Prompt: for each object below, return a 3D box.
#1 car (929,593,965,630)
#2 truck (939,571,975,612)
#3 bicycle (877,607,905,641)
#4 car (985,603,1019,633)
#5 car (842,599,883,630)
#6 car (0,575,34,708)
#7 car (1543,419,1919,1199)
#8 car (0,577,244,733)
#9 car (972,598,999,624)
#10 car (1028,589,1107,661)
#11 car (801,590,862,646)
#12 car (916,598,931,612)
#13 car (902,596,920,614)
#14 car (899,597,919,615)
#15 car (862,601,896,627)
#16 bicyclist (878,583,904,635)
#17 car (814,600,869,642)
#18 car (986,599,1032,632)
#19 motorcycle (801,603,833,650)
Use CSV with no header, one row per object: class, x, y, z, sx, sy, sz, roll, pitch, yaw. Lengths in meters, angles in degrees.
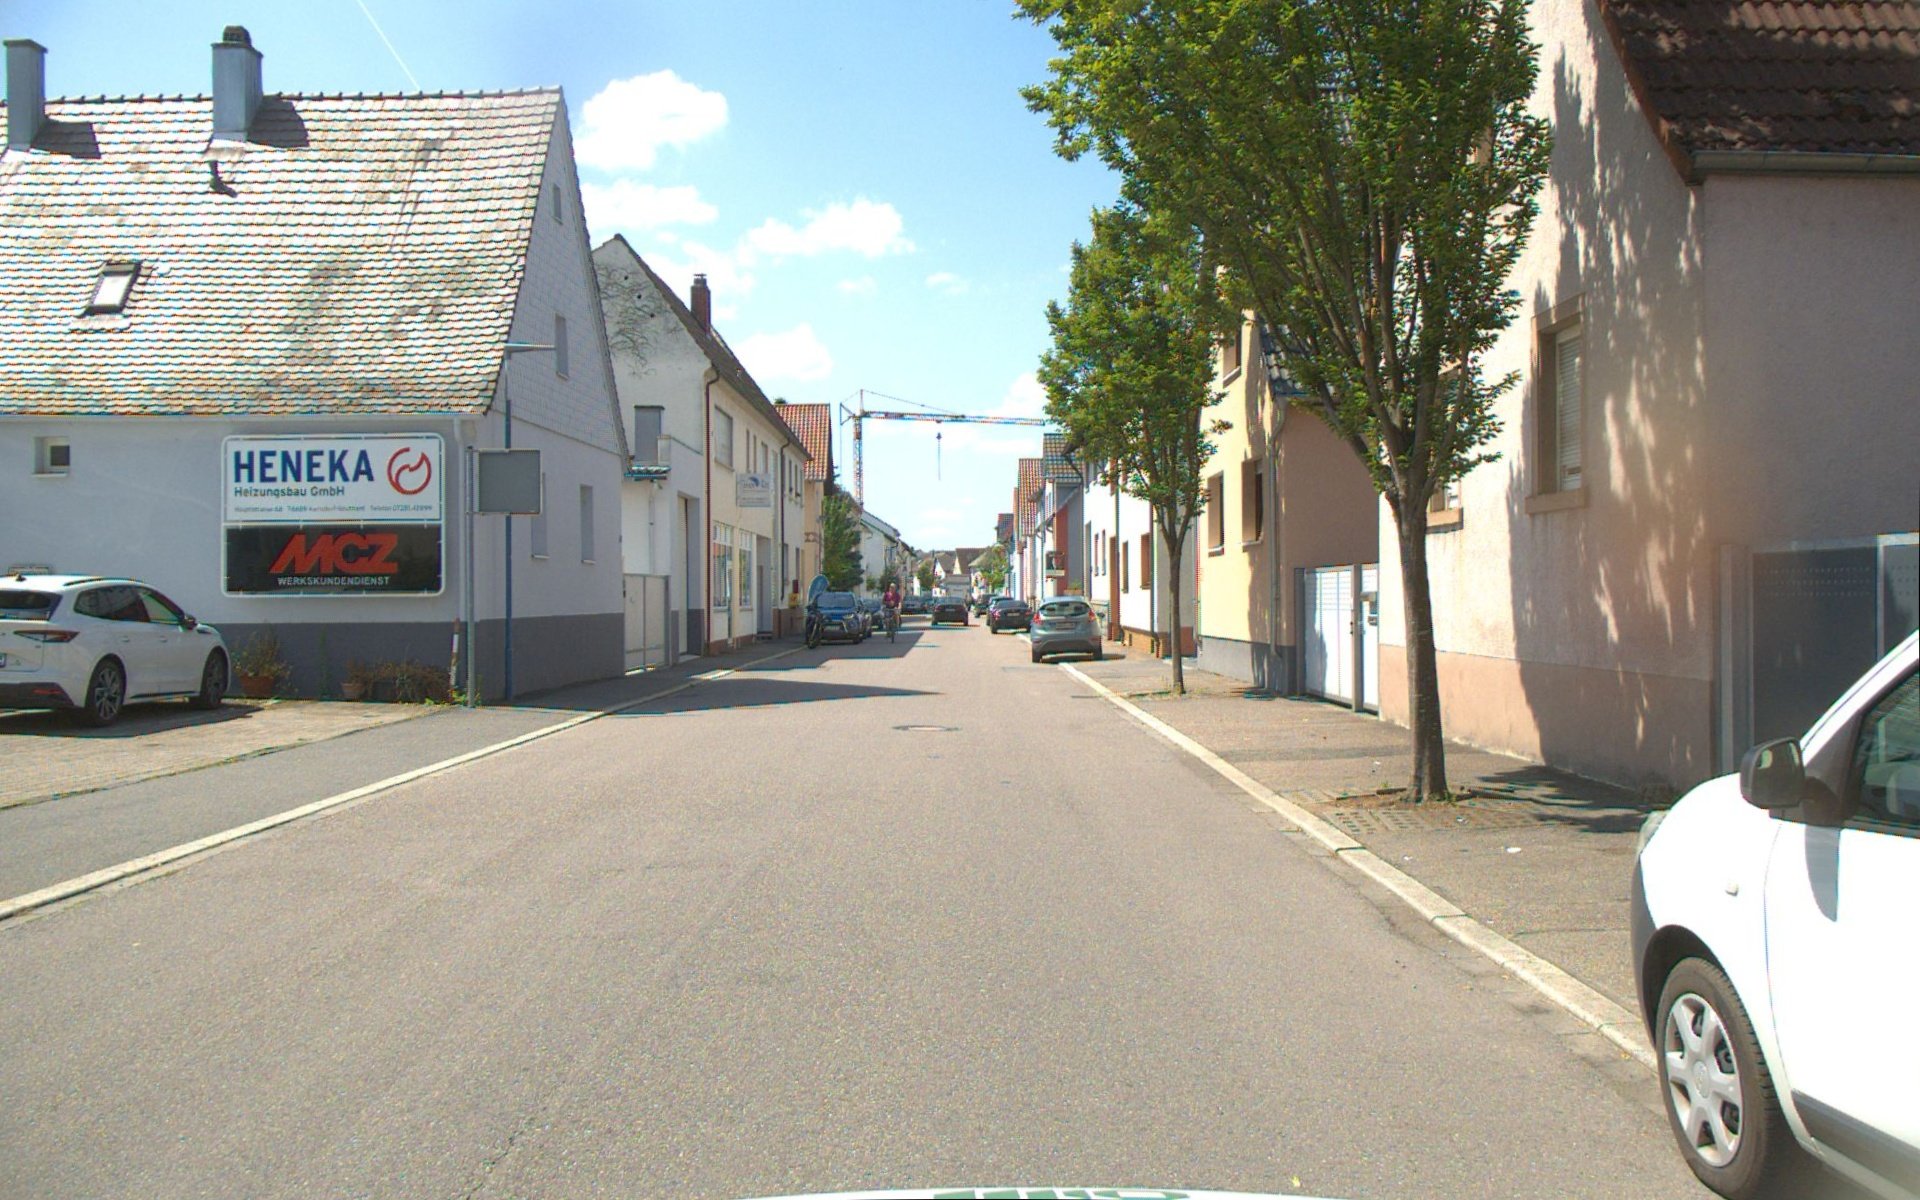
car,-0.677,0.569,83.211,1.746,1.784,3.999,-2,0,-1
truck,-0.378,-0.767,169.508,3.311,3.933,13.921,-2,0,-2
bicycle,-2.226,0.758,53.426,0.727,1.066,1.941,0,0,3
car,2.136,0.922,84.643,1.654,1.447,3.656,-1,0,0
car,-4.591,0.670,78.446,1.725,1.398,4.066,0,0,-1
car,-12.692,0.511,18.905,1.738,1.648,4.478,0,0,-1
car,2.766,0.536,2.823,1.654,1.874,4.762,-3,0,-2
car,-10.104,0.558,19.215,1.738,1.598,4.477,0,0,-2
car,1.791,0.771,116.769,1.694,1.747,4.274,-1,0,-2
car,2.548,0.558,39.351,1.686,1.507,3.751,-4,0,4
car,-4.121,0.563,53.677,1.682,1.668,4.147,-2,0,-1
car,-4.283,0.614,195.020,1.688,1.583,4.172,1,0,0
car,-4.583,0.486,155.703,1.619,1.637,4.060,-1,0,-1
car,-4.556,0.538,148.667,1.722,1.551,4.288,-1,0,-1
car,-4.854,0.831,99.349,1.731,1.485,4.437,-1,0,1
bicyclist,-2.224,0.296,53.449,0.731,1.665,0.957,0,0,3
car,-4.268,0.749,60.041,1.663,1.436,4.390,0,0,0
car,1.982,0.608,67.671,1.778,1.298,4.147,0,0,0
motorcycle,-4.238,0.764,49.126,0.792,1.335,2.105,0,0,-1
